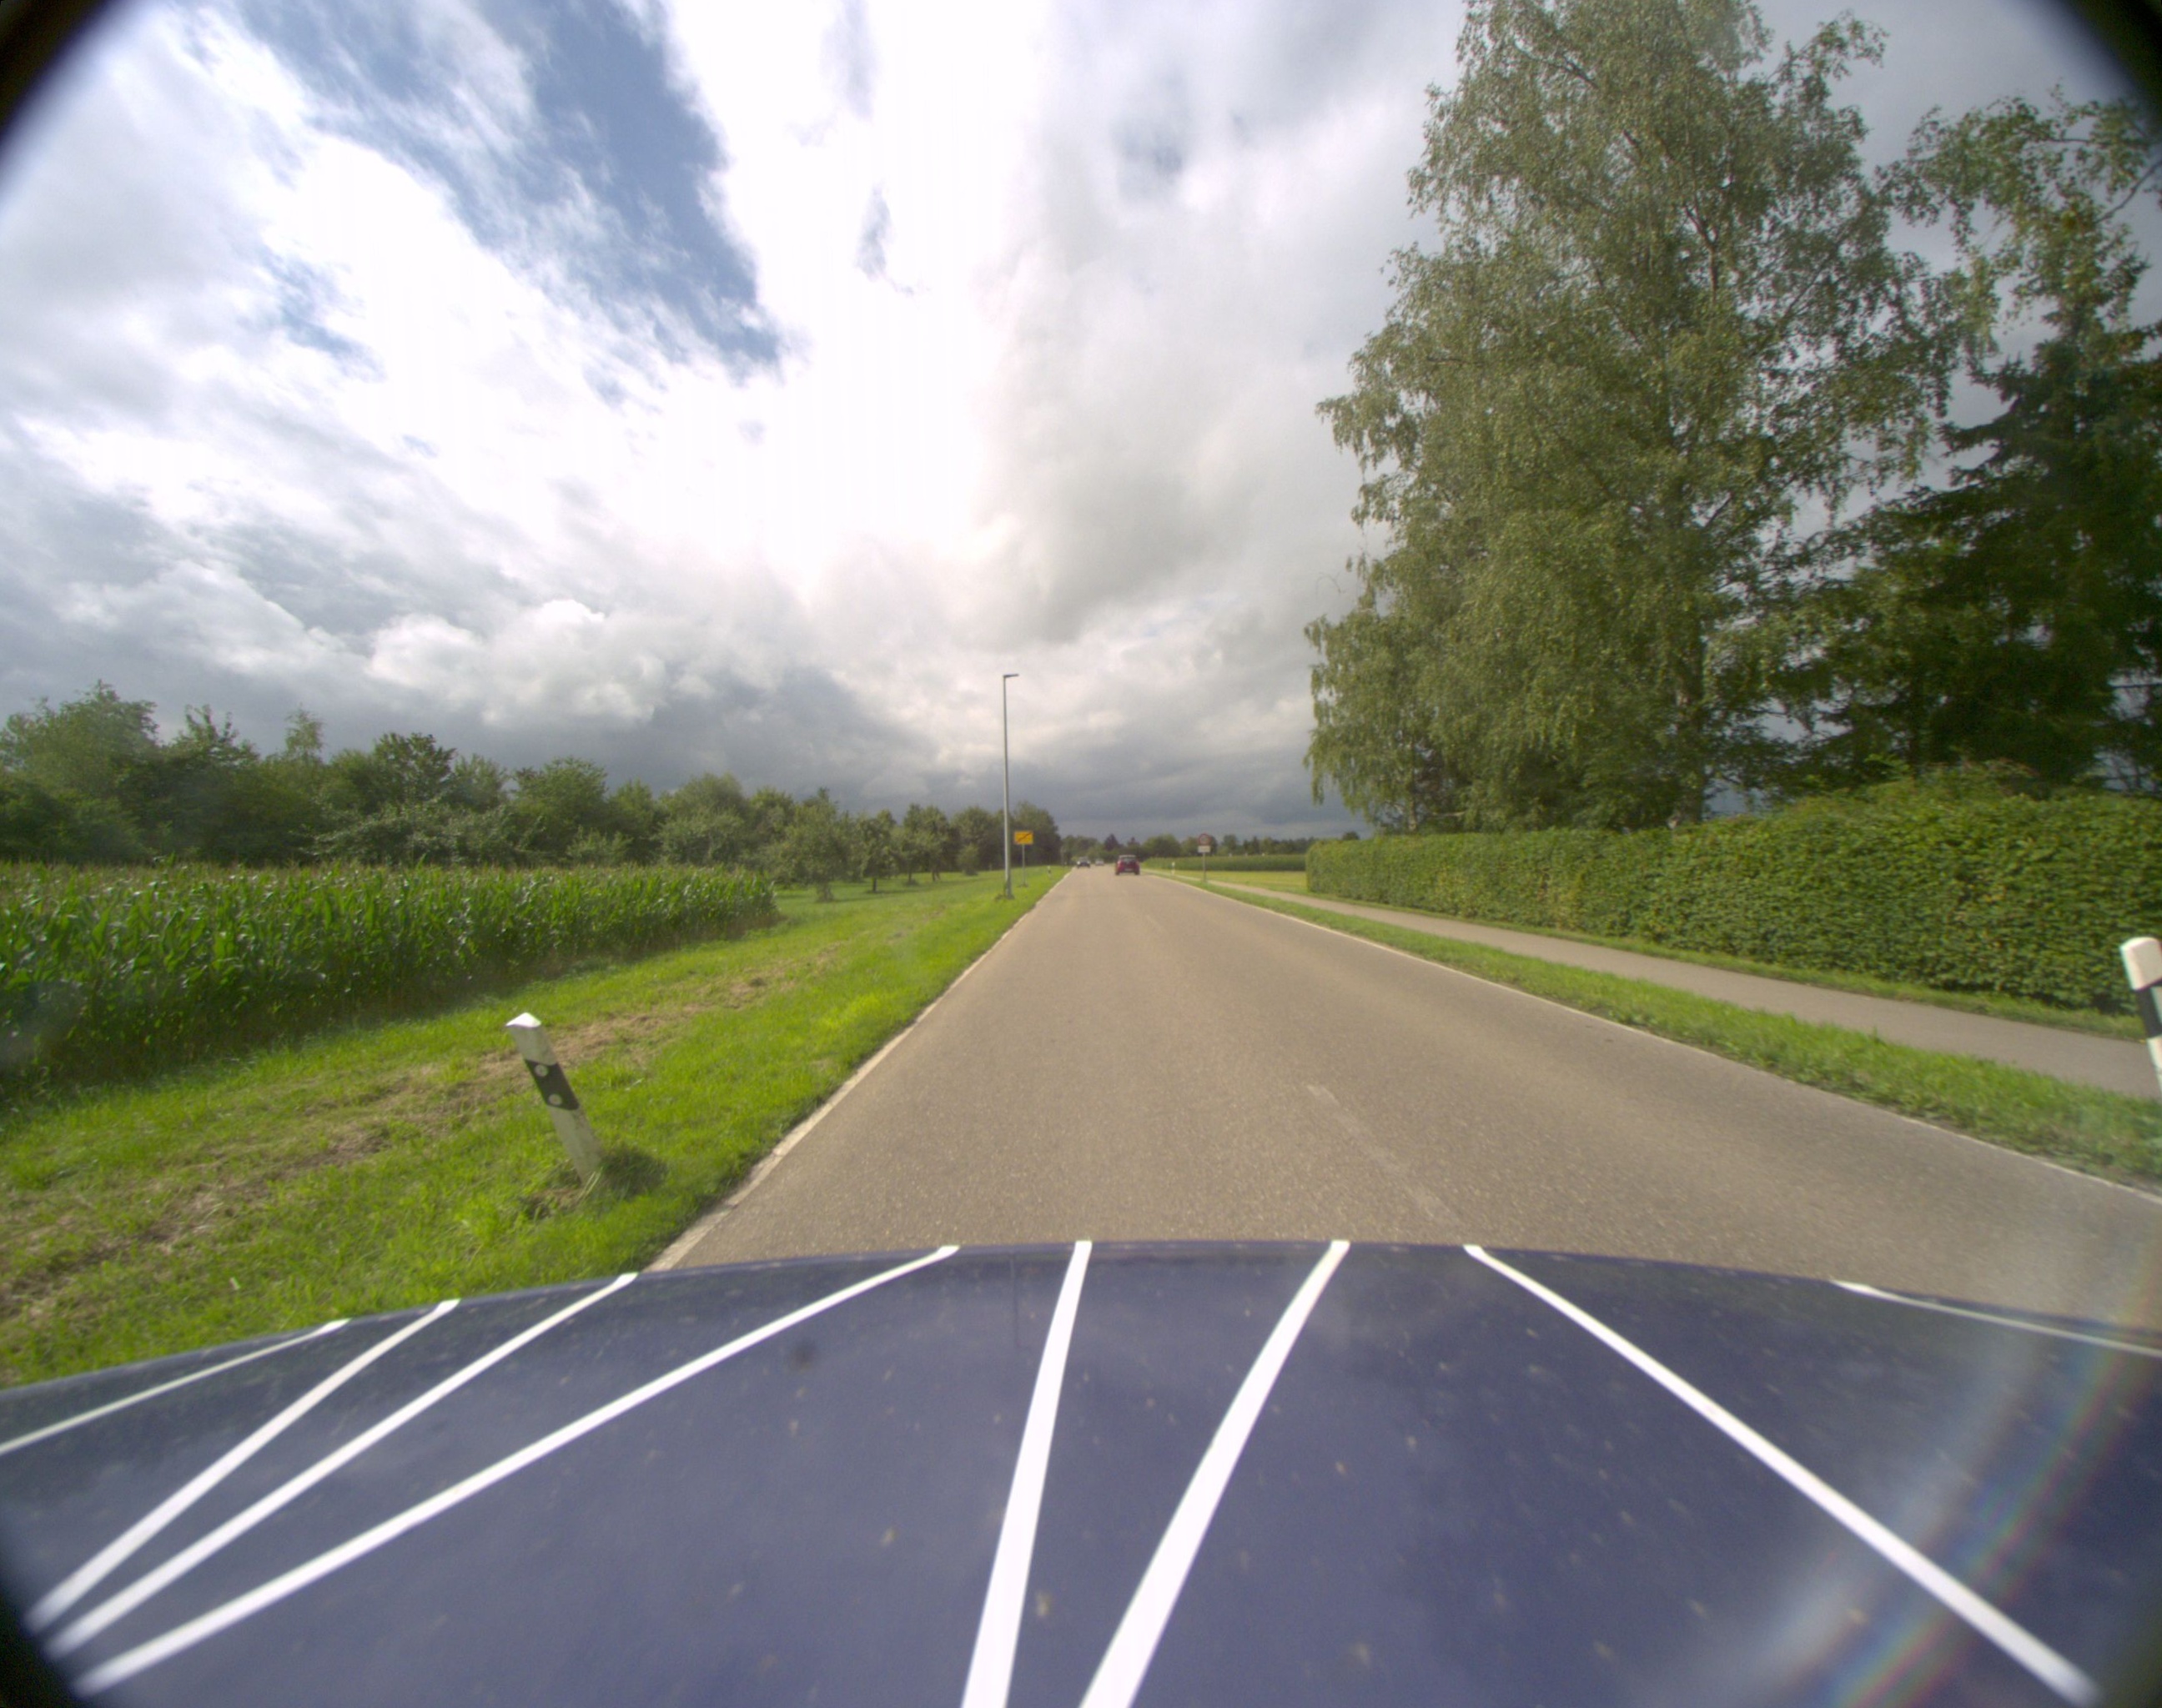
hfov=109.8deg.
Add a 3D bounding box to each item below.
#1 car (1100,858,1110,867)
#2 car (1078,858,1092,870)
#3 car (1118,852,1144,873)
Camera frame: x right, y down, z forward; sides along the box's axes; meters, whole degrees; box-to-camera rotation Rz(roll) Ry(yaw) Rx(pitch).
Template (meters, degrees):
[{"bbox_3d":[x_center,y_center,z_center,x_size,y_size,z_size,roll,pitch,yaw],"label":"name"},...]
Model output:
[{"bbox_3d":[4.985,1.761,158.039,2.087,1.716,4.560,0,0,0],"label":"car"},{"bbox_3d":[0.557,1.482,112.428,1.998,1.594,4.000,-2,0,0],"label":"car"},{"bbox_3d":[3.691,0.610,56.654,1.745,1.462,4.000,0,0,0],"label":"car"}]
